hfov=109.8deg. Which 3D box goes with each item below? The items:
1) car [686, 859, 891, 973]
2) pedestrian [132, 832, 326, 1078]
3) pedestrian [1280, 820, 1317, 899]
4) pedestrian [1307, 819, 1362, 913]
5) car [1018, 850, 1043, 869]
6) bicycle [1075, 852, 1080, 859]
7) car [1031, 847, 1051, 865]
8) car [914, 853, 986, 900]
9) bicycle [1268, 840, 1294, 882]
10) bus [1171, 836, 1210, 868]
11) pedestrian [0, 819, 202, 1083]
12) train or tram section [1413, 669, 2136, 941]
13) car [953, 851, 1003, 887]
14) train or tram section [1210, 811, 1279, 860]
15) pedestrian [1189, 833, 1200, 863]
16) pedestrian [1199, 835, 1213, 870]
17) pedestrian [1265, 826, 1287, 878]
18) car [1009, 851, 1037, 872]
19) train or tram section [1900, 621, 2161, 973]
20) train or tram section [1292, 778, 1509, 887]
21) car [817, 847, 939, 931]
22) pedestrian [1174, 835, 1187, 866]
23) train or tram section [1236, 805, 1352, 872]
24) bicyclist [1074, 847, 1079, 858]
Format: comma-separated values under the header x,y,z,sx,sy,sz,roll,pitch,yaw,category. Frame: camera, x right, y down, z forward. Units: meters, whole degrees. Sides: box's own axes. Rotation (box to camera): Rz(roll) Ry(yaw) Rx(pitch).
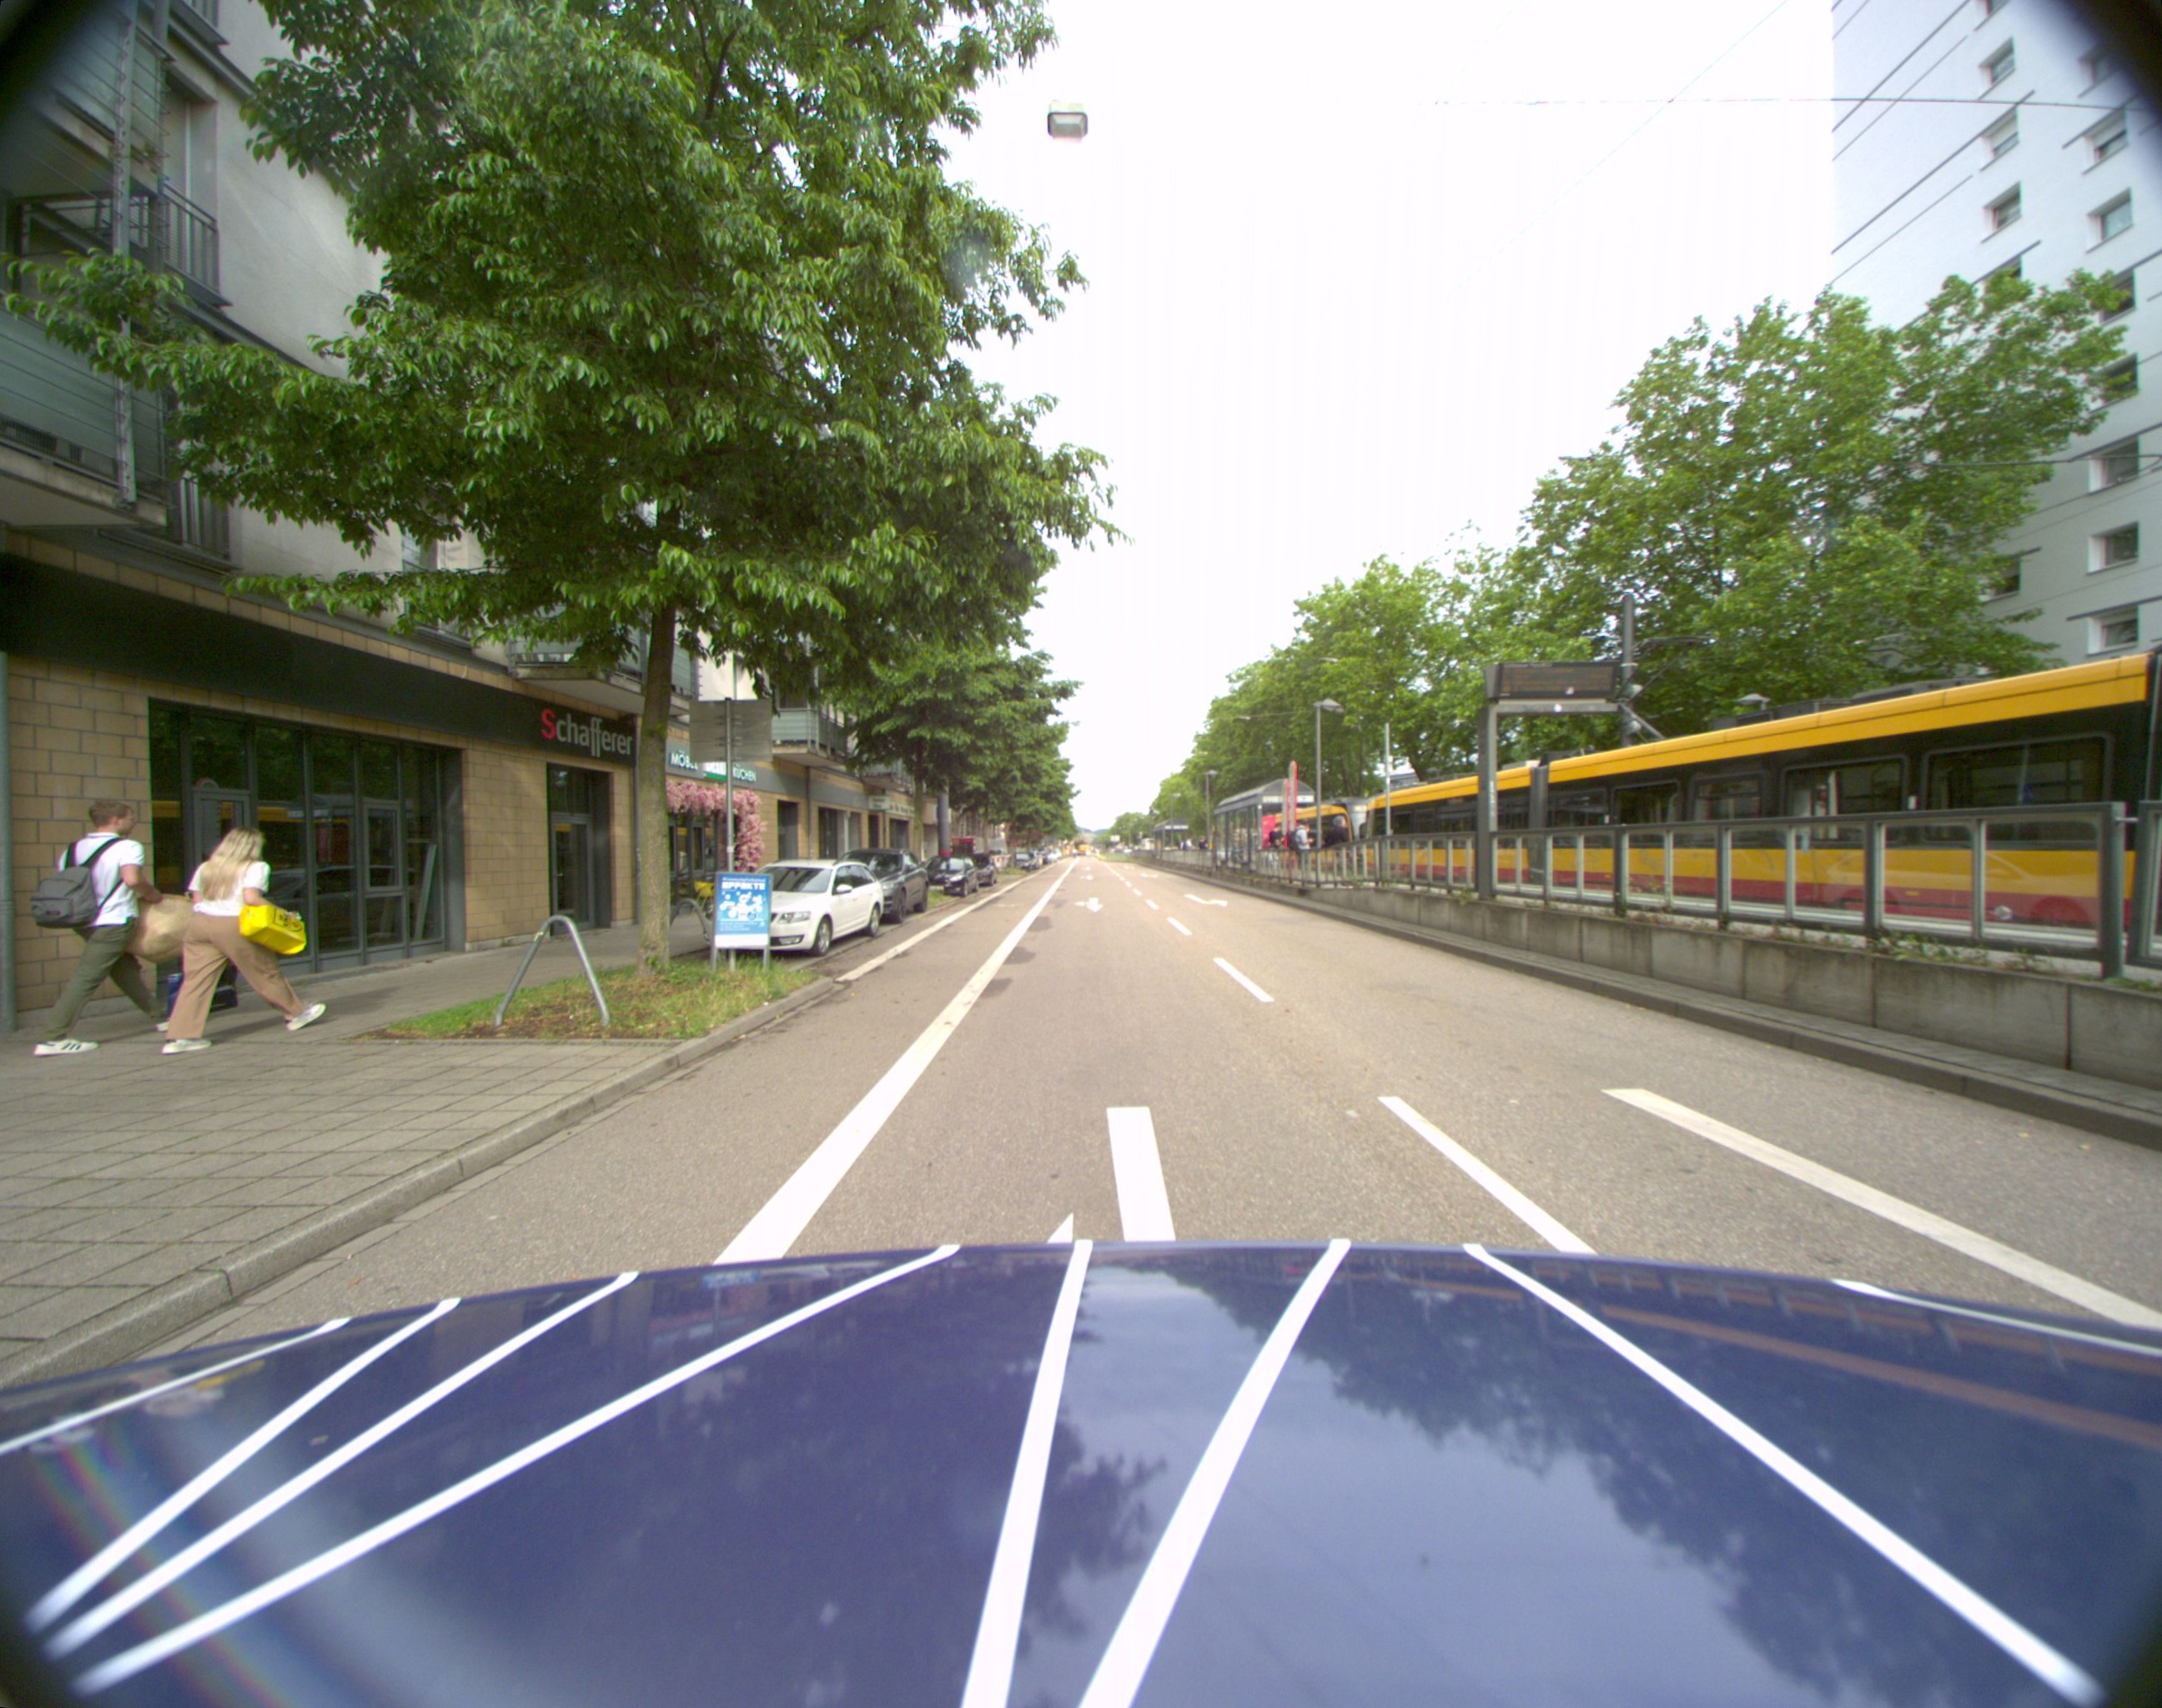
x,y,z,sx,sy,sz,roll,pitch,yaw,category
-4.709,0.892,13.001,1.680,1.490,4.389,2,1,2,car
-6.560,0.735,5.895,0.617,1.795,0.737,0,1,2,pedestrian
5.650,0.133,19.750,0.753,2.002,0.819,-2,2,24,pedestrian
5.597,0.249,16.801,0.756,2.002,0.816,-3,2,-36,pedestrian
-4.156,0.454,62.748,1.755,1.452,4.279,1,1,0,car
-0.589,0.303,126.742,0.613,1.116,2.050,-2,1,1,bicycle
-4.089,0.157,78.819,1.837,1.720,4.279,1,1,0,car
-4.614,0.745,27.370,1.680,1.433,4.407,2,1,2,car
6.064,0.190,23.065,0.420,1.215,1.289,-2,1,0,bicycle
7.362,-0.143,51.435,1.998,2.002,3.999,-2,1,1,bus
-7.484,0.689,5.783,0.676,1.880,0.737,0,1,2,pedestrian
12.628,-0.760,17.794,3.067,3.511,15.292,-2,1,1,train or tram section
-4.701,0.638,35.143,1.802,1.447,4.387,2,1,-1,car
13.207,-1.460,62.778,3.100,3.541,12.537,-2,1,1,train or tram section
6.156,-0.309,41.310,0.480,1.623,0.392,-2,1,2,pedestrian
6.006,-0.062,36.396,0.513,1.623,0.730,-2,1,2,pedestrian
6.206,-0.057,24.189,0.532,1.623,0.471,-2,1,-2,pedestrian
-4.290,0.512,56.515,1.755,1.452,4.279,1,1,0,car
12.445,-0.547,2.253,3.067,3.568,15.846,-2,1,1,train or tram section
12.827,-0.838,33.106,3.067,3.511,15.292,-2,1,1,train or tram section
-4.748,0.727,18.478,1.716,1.707,4.710,2,1,-1,car
6.505,-0.231,49.645,0.676,2.002,0.588,-2,1,-2,pedestrian
13.008,-0.947,48.629,3.067,3.511,15.769,-2,1,1,train or tram section
-0.694,-0.276,126.836,0.751,1.777,0.838,-2,1,1,bicyclist
